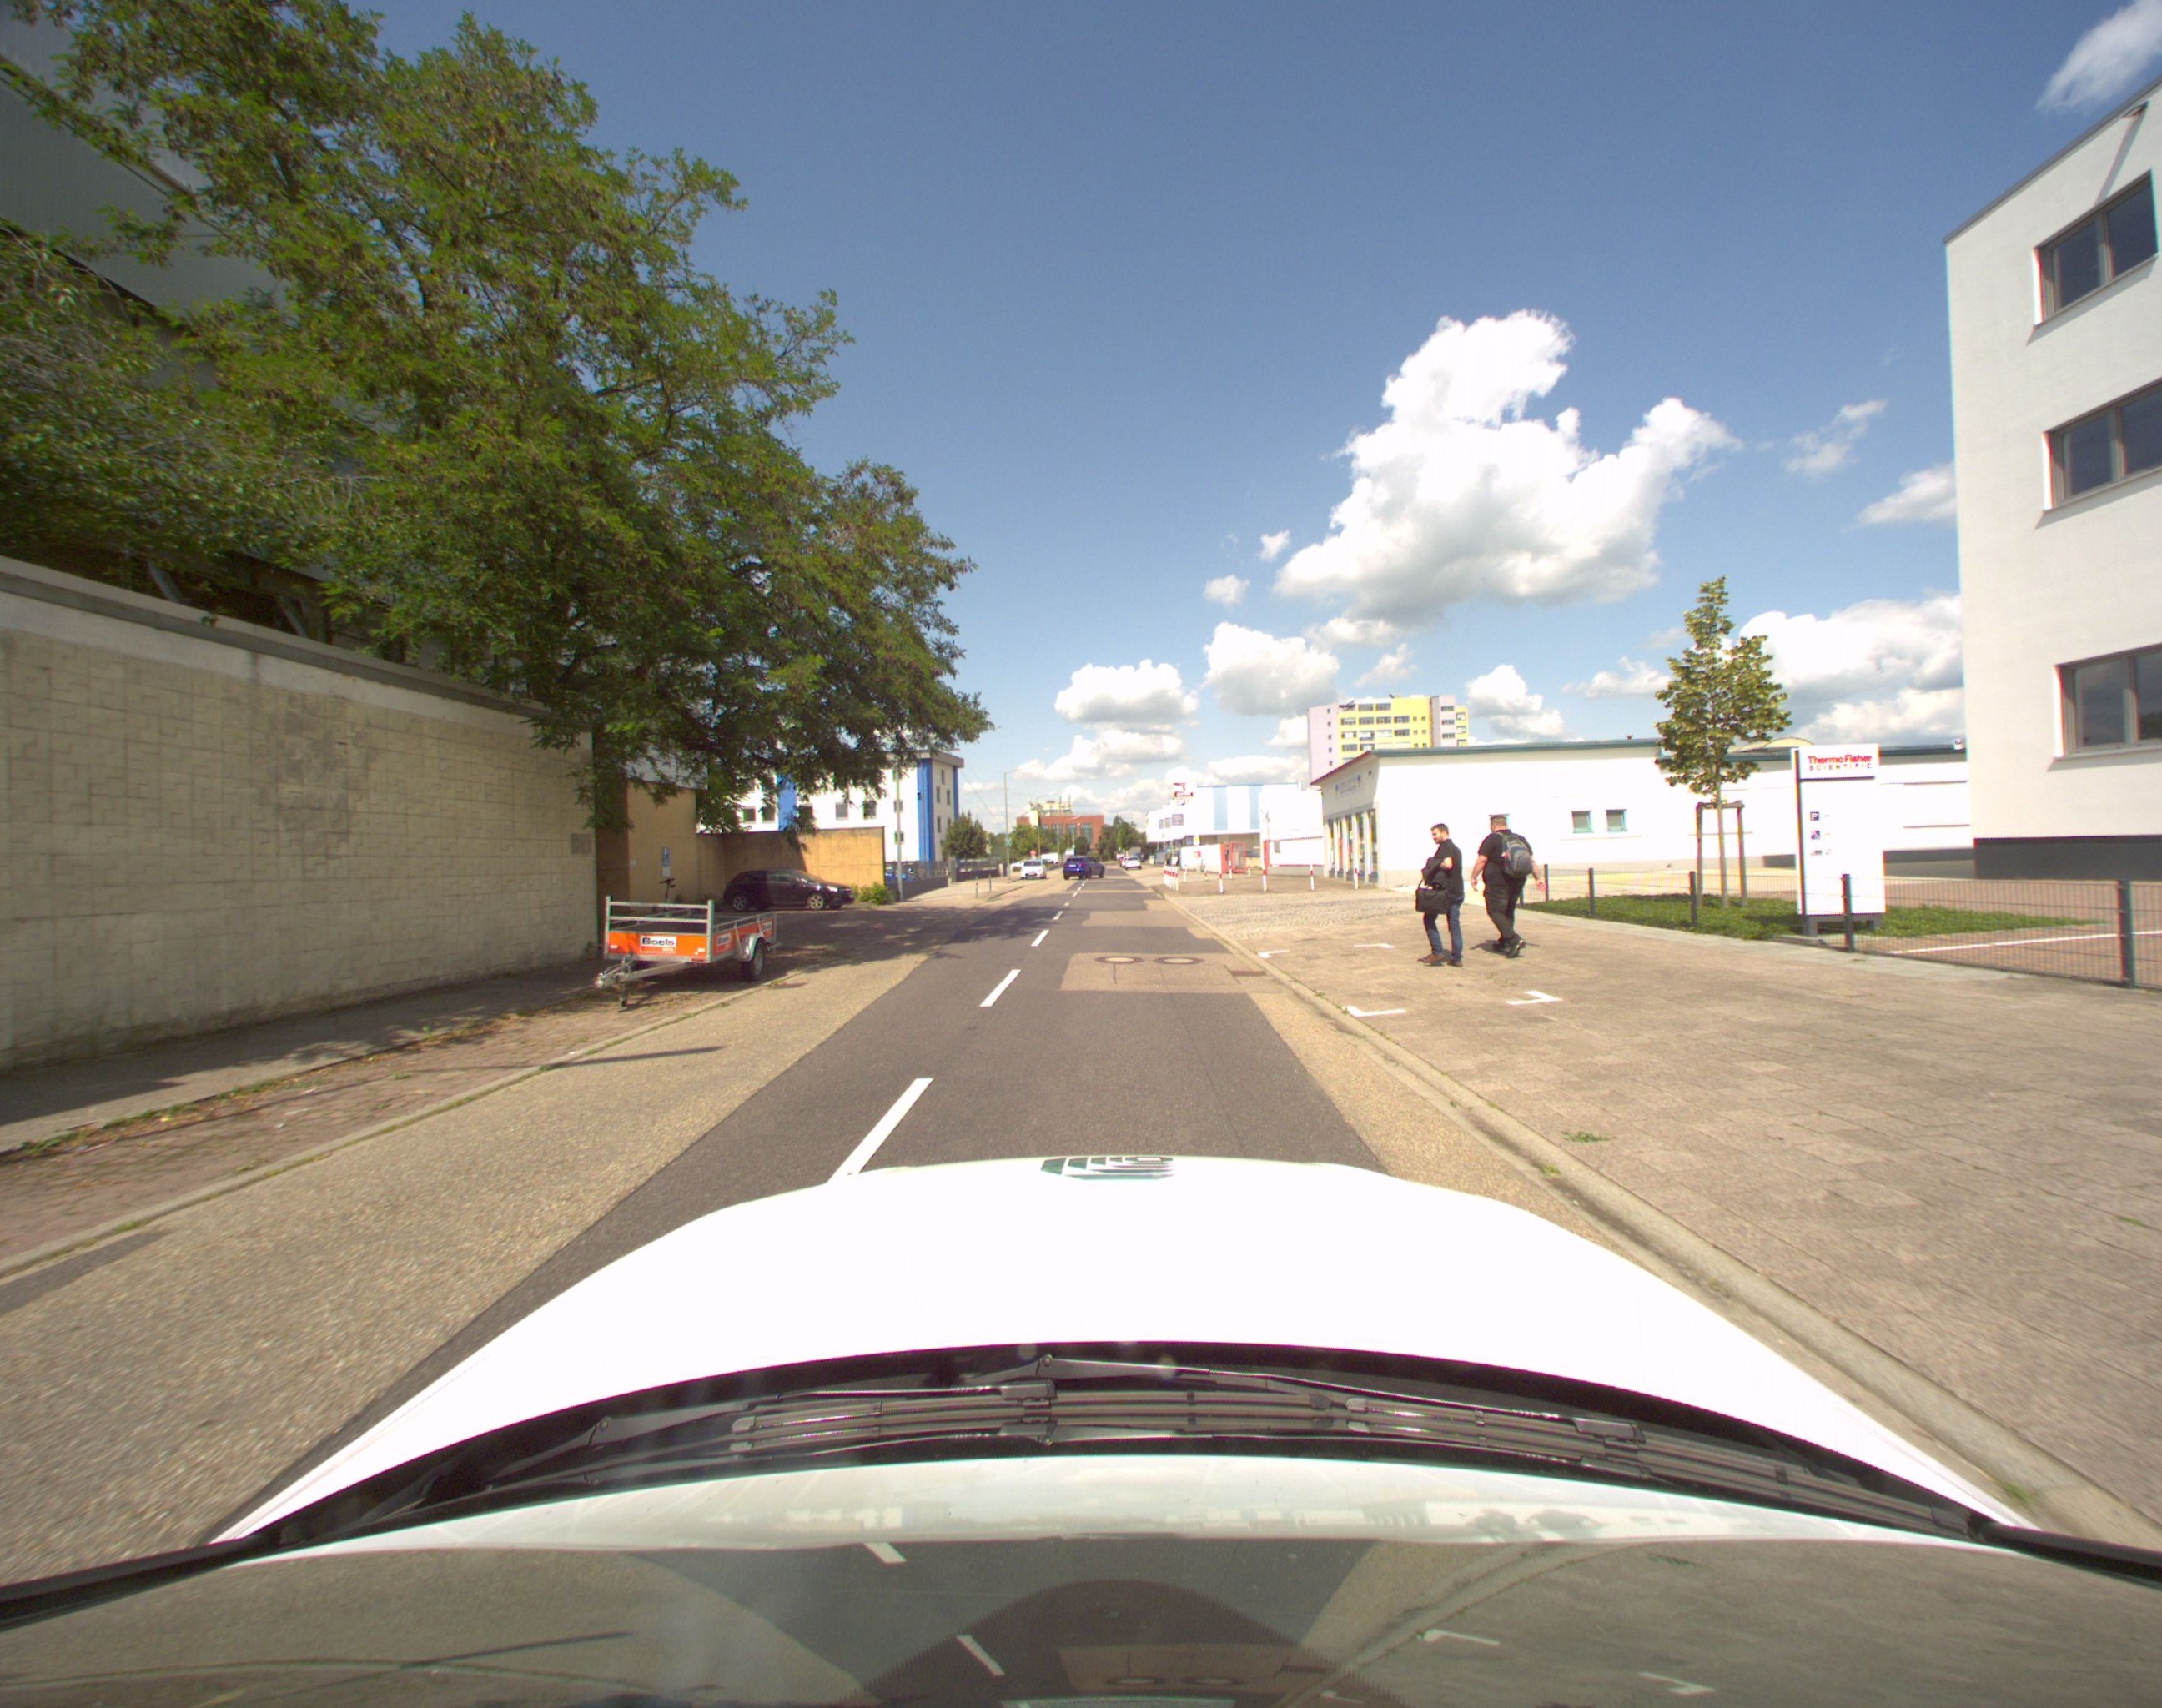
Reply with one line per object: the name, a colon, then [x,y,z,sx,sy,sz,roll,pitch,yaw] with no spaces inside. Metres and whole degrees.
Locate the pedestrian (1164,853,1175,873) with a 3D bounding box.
pedestrian: [7.930,0.831,72.995,0.767,1.756,0.787,-4,-1,1]

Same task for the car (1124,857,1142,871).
car: [5.929,1.153,92.995,1.861,1.520,4.598,-2,-1,1]

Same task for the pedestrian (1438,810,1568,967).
pedestrian: [5.622,0.431,10.899,0.993,1.951,1.083,-3,-1,-21]

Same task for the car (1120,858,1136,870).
car: [6.098,1.319,105.688,1.828,1.520,4.462,-2,-1,1]

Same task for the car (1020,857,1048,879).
car: [-3.810,1.138,66.436,1.861,1.708,4.754,-1,-1,1]

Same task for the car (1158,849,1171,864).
car: [14.609,0.491,142.255,1.916,2.464,5.261,-1,-1,2]

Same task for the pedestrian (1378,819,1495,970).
pedestrian: [4.577,0.495,10.532,0.860,1.807,0.998,-3,-1,-21]

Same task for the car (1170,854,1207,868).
car: [13.064,0.844,99.062,4.263,1.420,2.001,-3,0,2]

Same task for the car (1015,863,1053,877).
car: [-6.025,2.064,105.231,4.743,1.602,1.998,-4,0,-2]

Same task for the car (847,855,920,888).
car: [-11.283,0.963,46.678,3.635,1.708,1.879,-2,-1,1]

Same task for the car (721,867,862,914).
car: [-9.585,1.203,27.104,3.974,1.362,1.796,-2,-1,4]

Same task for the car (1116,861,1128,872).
car: [6.278,1.851,124.642,1.747,1.650,4.682,-2,-1,4]

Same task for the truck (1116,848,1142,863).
truck: [12.430,0.449,210.791,2.298,3.567,9.427,0,1,32]

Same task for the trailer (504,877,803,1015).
trailer: [-5.561,1.096,11.352,1.760,1.439,4.337,1,0,2]

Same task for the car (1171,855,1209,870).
car: [11.899,0.939,89.150,3.972,1.420,2.001,-3,0,2]

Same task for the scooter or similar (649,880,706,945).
scooter or similar: [-8.505,1.206,17.219,0.480,1.279,1.361,1,-1,2]

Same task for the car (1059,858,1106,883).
car: [0.156,1.195,59.470,1.893,1.593,4.725,-3,0,20]
